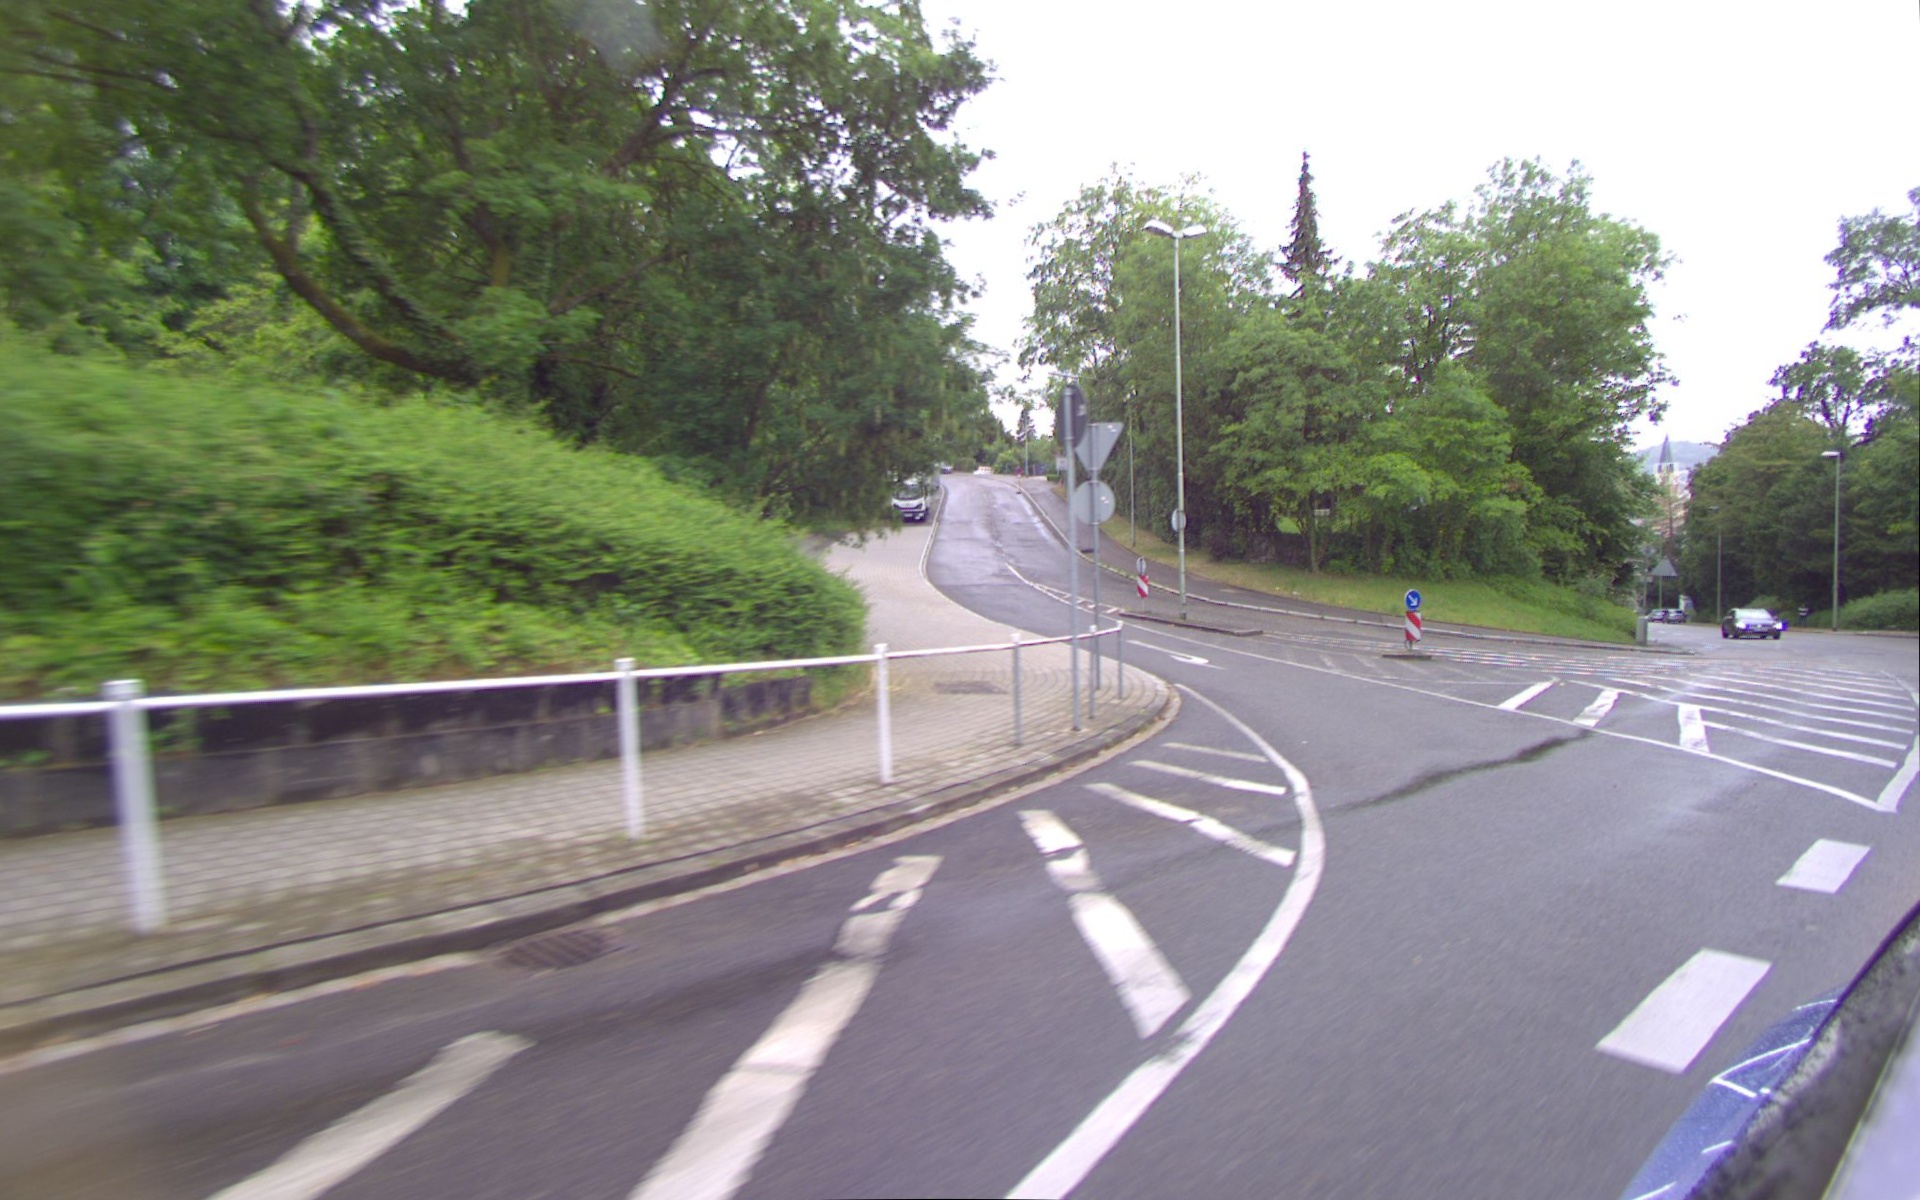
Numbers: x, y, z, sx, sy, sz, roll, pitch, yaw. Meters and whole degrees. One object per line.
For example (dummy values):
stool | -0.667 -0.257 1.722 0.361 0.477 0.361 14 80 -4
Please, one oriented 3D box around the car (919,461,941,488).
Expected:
car | -2.751 -11.378 91.681 1.676 2.038 3.896 2 2 -5

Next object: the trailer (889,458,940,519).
trailer | -2.819 -7.247 64.696 2.238 3.334 8.039 2 10 4

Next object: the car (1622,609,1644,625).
car | 80.149 2.010 120.571 1.984 1.838 3.956 1 0 31

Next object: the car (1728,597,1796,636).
car | 38.236 0.739 48.331 2.021 1.722 3.956 1 1 31

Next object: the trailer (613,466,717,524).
trailer | -15.673 -5.527 53.799 5.205 2.756 1.986 1 0 22

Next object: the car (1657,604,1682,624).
car | 81.384 1.586 116.137 1.984 2.284 3.956 1 0 31
